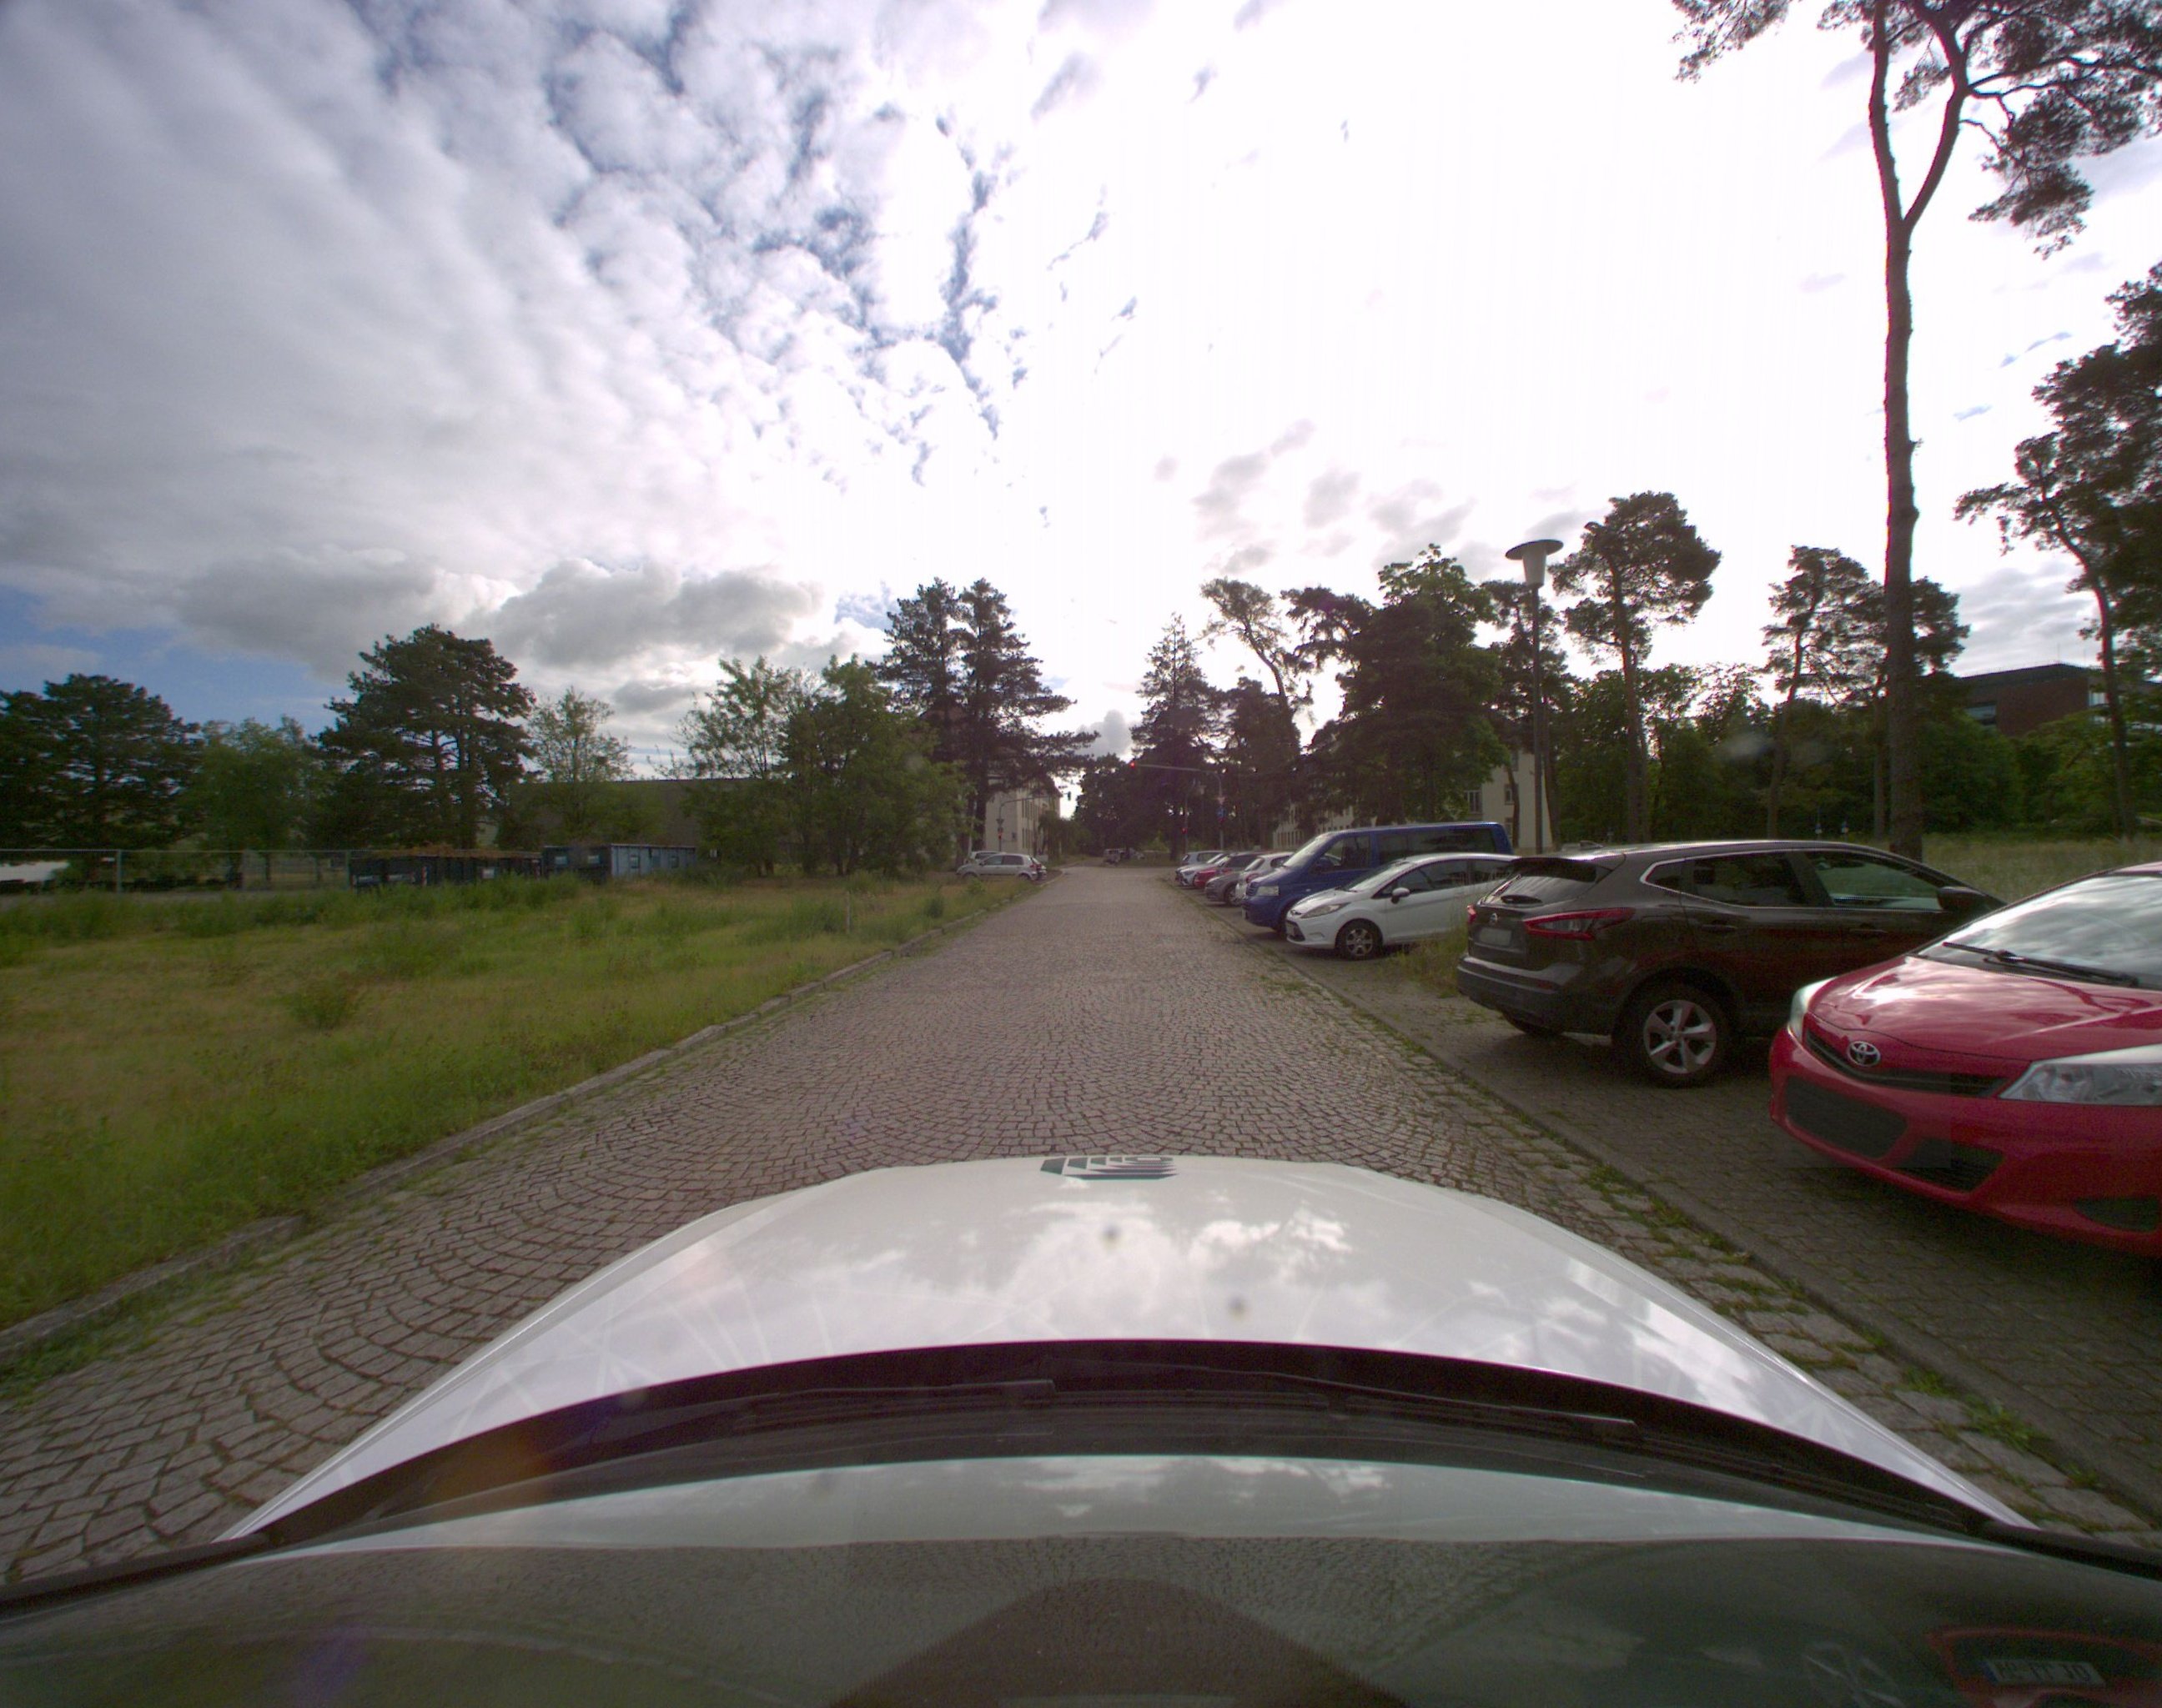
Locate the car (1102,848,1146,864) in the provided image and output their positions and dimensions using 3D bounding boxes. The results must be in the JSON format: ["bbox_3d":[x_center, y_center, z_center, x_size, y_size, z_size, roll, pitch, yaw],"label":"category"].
[{"bbox_3d":[5.555,0.250,105.757,5.440,2.013,2.263,0,0,-7],"label":"car"}]

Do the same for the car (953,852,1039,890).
[{"bbox_3d":[-3.926,0.799,38.067,3.811,1.572,1.563,-2,0,-1],"label":"car"}]

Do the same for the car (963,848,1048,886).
[{"bbox_3d":[-4.011,0.673,43.479,4.246,1.840,1.744,-2,0,1],"label":"car"}]

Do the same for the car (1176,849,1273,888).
[{"bbox_3d":[5.826,0.576,33.330,3.663,1.421,1.522,-2,0,-3],"label":"car"}]

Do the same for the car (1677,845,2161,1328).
[{"bbox_3d":[5.069,0.705,3.427,3.777,1.460,1.752,-2,0,2],"label":"car"}]

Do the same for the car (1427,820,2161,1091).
[{"bbox_3d":[4.977,0.645,6.070,4.016,1.552,1.750,-2,0,-1],"label":"car"}]

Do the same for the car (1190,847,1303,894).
[{"bbox_3d":[5.791,0.577,28.790,3.660,1.449,1.524,-2,0,0],"label":"car"}]

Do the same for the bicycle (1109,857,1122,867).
[{"bbox_3d":[3.584,0.804,83.814,0.623,0.945,1.649,0,0,-25],"label":"bicycle"}]

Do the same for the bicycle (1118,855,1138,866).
[{"bbox_3d":[5.051,0.691,87.843,2.131,1.214,0.621,0,0,-3],"label":"bicycle"}]

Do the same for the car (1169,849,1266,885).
[{"bbox_3d":[6.029,0.574,36.183,3.958,1.421,1.618,-2,0,-3],"label":"car"}]

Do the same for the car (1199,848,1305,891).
[{"bbox_3d":[6.472,0.566,31.056,3.660,1.449,1.524,-2,0,0],"label":"car"}]

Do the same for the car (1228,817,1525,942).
[{"bbox_3d":[5.285,0.444,15.040,4.739,1.954,1.931,-2,0,0],"label":"car"}]

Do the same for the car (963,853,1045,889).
[{"bbox_3d":[-3.783,0.833,40.481,3.807,1.572,1.565,-2,0,1],"label":"car"}]

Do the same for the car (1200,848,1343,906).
[{"bbox_3d":[5.337,0.629,23.103,3.660,1.449,1.524,-2,0,0],"label":"car"}]

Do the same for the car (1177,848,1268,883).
[{"bbox_3d":[6.707,0.540,38.815,3.958,1.421,1.618,-2,0,-3],"label":"car"}]

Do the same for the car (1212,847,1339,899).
[{"bbox_3d":[6.158,0.594,26.070,3.660,1.449,1.524,-2,0,0],"label":"car"}]

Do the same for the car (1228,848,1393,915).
[{"bbox_3d":[5.645,0.658,20.312,3.660,1.449,1.524,-2,0,0],"label":"car"}]

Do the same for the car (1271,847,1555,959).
[{"bbox_3d":[4.940,0.706,12.454,3.660,1.449,1.614,-2,0,-1],"label":"car"}]
